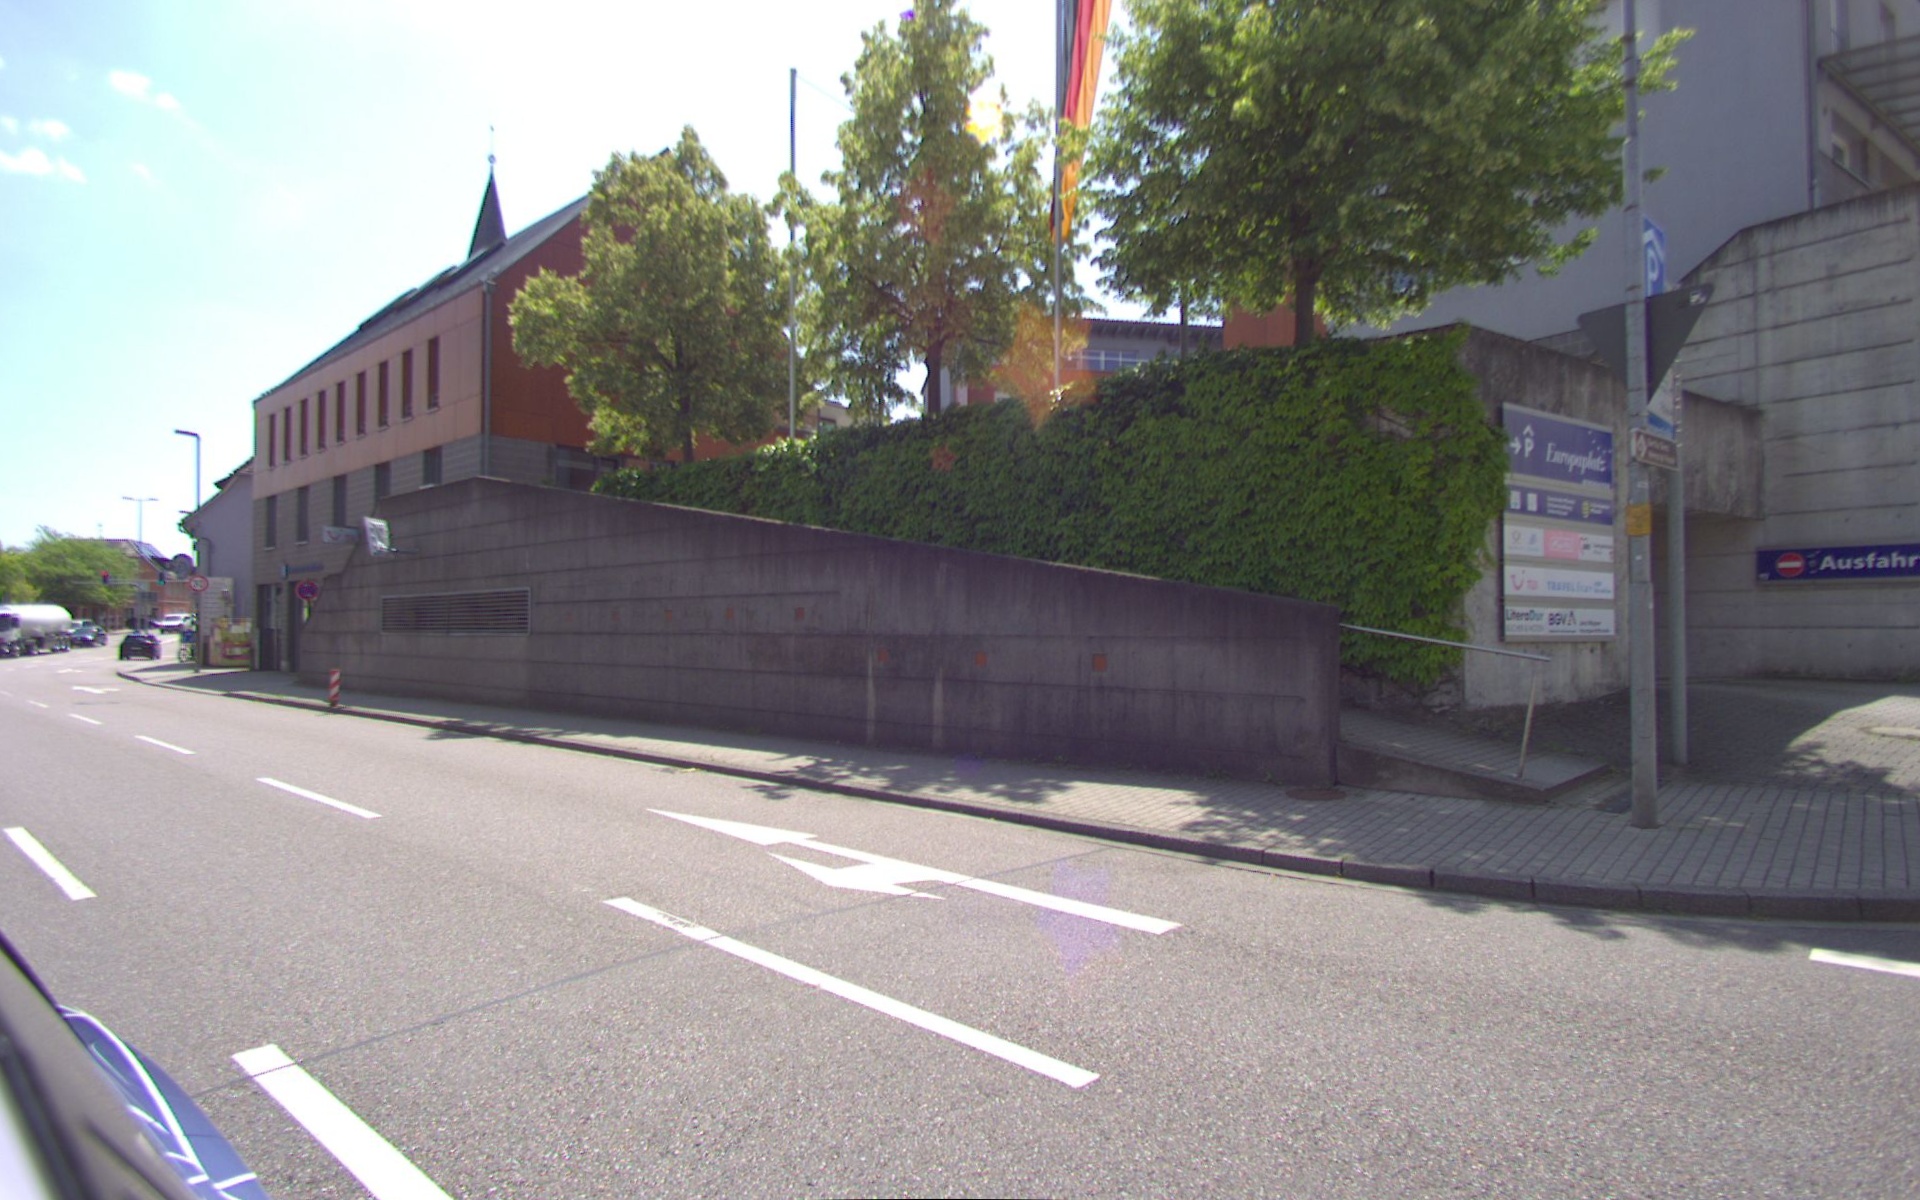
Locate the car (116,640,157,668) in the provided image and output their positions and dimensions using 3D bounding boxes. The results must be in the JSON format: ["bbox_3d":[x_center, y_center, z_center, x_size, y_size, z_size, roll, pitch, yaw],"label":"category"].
[{"bbox_3d":[-51.055,3.324,62.801,1.647,1.670,4.027,1,-3,-35],"label":"car"}]

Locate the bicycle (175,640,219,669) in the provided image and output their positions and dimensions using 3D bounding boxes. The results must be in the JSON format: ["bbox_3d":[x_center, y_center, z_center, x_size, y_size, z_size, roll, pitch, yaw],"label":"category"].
[{"bbox_3d":[-36.795,2.615,48.823,0.571,1.258,1.828,-4,-1,6],"label":"bicycle"}]

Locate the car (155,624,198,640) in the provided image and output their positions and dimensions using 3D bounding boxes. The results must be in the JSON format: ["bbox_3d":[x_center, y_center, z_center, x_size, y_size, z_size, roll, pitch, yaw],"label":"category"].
[{"bbox_3d":[-81.207,3.329,104.934,1.979,1.643,4.591,0,-2,-16],"label":"car"}]

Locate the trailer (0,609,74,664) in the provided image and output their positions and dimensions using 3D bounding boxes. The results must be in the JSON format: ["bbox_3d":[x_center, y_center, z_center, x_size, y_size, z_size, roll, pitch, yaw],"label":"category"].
[{"bbox_3d":[-65.576,2.604,71.131,2.791,3.597,10.998,1,-2,-30],"label":"trailer"}]

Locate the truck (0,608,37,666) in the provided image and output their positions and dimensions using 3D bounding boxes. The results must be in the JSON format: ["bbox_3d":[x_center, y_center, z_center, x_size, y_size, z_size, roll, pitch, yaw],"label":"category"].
[{"bbox_3d":[-62.124,2.407,65.164,2.801,3.597,5.484,1,-3,-31],"label":"truck"}]

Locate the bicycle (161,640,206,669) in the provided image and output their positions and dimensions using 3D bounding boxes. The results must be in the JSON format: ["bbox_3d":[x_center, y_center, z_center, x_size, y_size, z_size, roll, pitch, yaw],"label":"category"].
[{"bbox_3d":[-37.439,2.627,48.828,0.571,1.258,1.828,-4,-1,6],"label":"bicycle"}]

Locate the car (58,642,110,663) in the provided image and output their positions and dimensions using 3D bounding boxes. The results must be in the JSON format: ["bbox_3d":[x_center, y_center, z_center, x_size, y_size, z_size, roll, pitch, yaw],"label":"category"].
[{"bbox_3d":[-70.965,4.220,82.067,1.978,1.643,4.592,1,-2,-25],"label":"car"}]
